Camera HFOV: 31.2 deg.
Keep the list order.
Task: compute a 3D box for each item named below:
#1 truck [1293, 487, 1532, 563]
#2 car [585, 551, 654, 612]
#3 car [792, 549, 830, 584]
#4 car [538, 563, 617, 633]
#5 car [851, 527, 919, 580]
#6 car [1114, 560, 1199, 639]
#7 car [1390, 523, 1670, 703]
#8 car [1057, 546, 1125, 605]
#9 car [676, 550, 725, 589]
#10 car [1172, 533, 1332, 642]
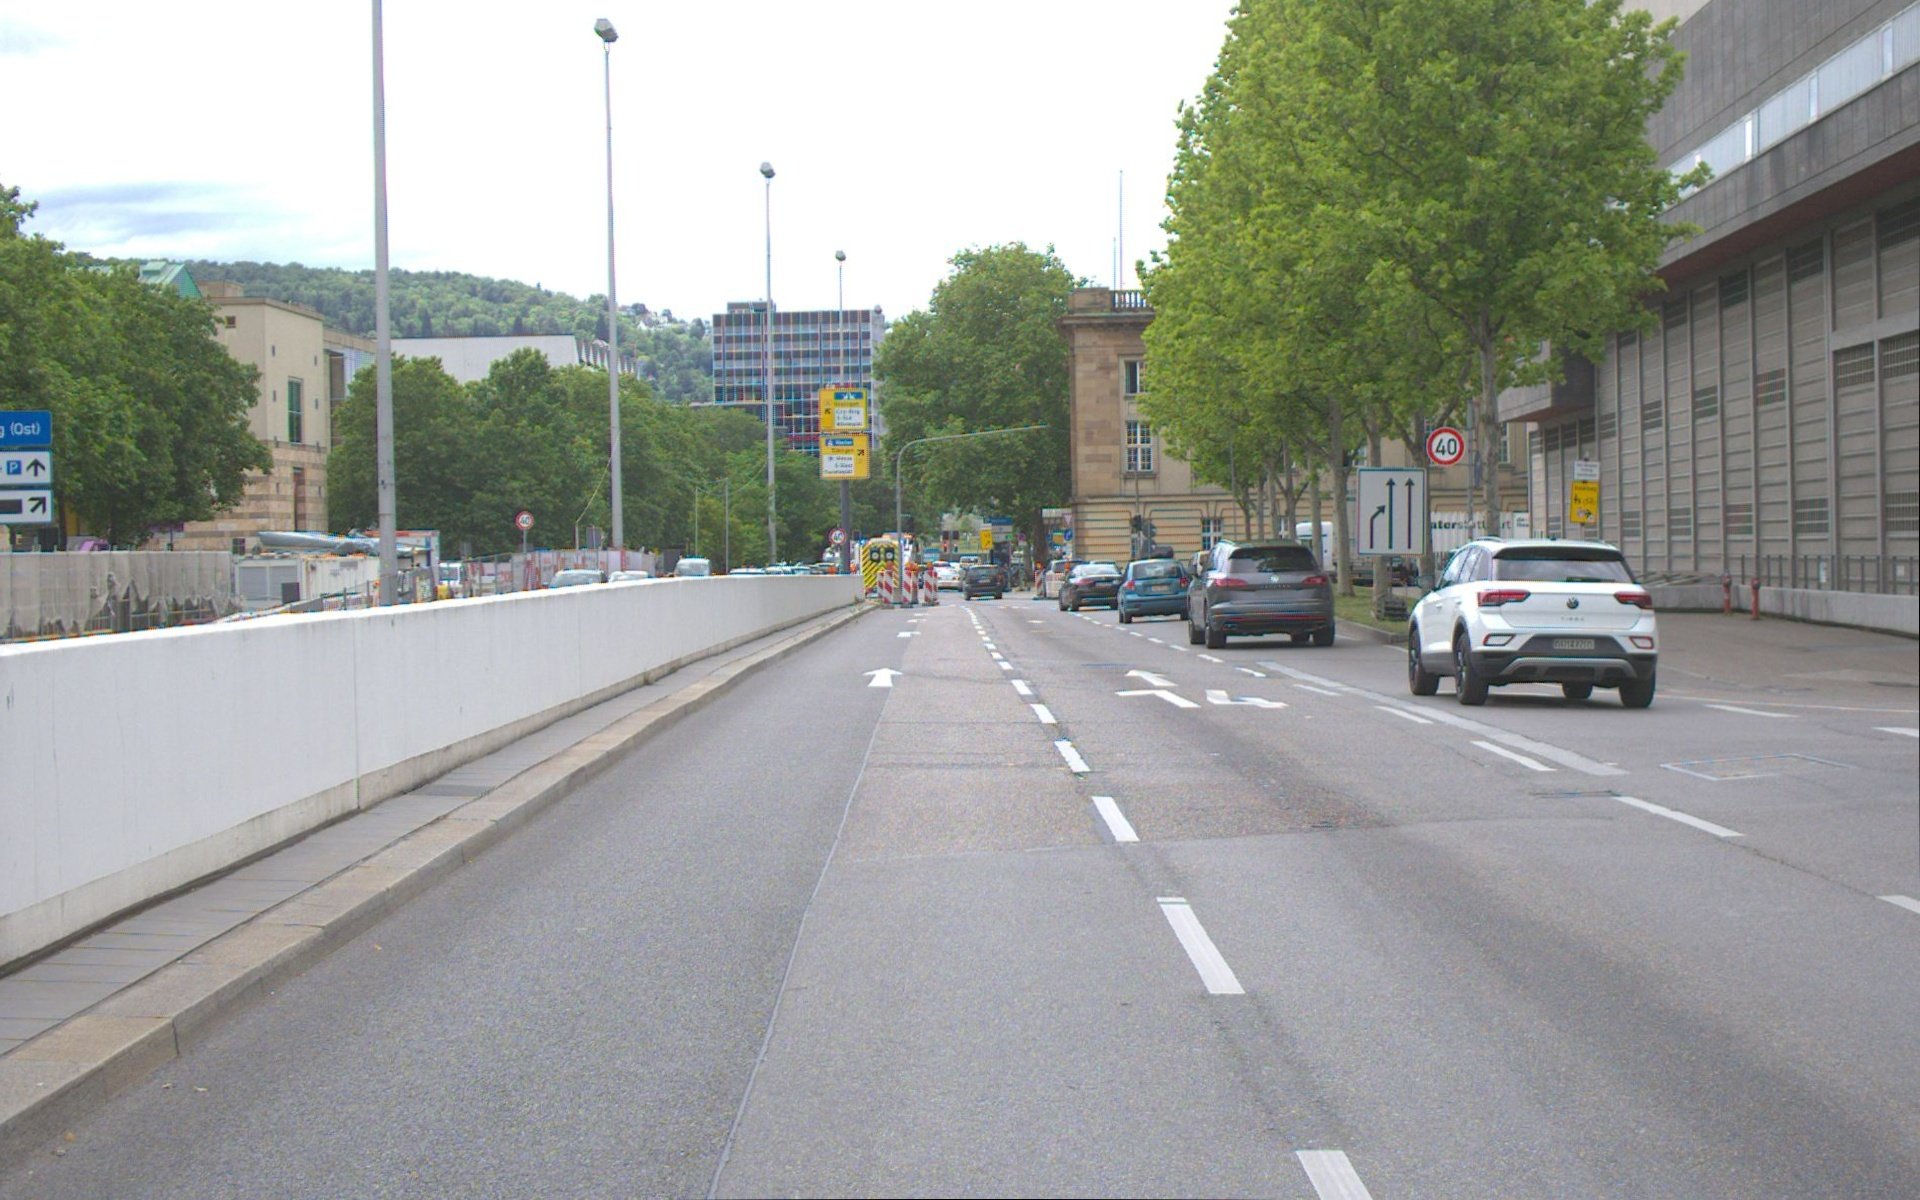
[{"bbox_3d":[19.625,-3.247,149.606,10.030,3.040,2.569,-1,0,1],"label":"truck"},{"bbox_3d":[-11.955,-0.662,121.002,1.993,2.006,4.001,-1,2,0],"label":"car"},{"bbox_3d":[-7.027,-1.569,161.956,1.750,1.562,4.332,-1,0,-3],"label":"car"},{"bbox_3d":[-11.931,-0.087,107.341,1.993,2.006,4.001,-1,2,0],"label":"car"},{"bbox_3d":[-3.489,-2.196,161.469,2.582,2.366,5.526,-1,1,5],"label":"car"},{"bbox_3d":[4.651,-0.042,80.803,1.823,1.735,4.479,-1,1,5],"label":"car"},{"bbox_3d":[5.382,0.126,32.992,1.750,1.562,4.331,2,0,-3],"label":"car"},{"bbox_3d":[4.032,-0.771,105.502,1.823,1.735,4.479,-1,1,5],"label":"car"},{"bbox_3d":[-11.298,-1.333,149.974,1.750,1.562,3.377,-3,0,1],"label":"car"},{"bbox_3d":[4.542,-0.232,54.089,1.823,1.562,4.481,-1,2,-4],"label":"car"}]
